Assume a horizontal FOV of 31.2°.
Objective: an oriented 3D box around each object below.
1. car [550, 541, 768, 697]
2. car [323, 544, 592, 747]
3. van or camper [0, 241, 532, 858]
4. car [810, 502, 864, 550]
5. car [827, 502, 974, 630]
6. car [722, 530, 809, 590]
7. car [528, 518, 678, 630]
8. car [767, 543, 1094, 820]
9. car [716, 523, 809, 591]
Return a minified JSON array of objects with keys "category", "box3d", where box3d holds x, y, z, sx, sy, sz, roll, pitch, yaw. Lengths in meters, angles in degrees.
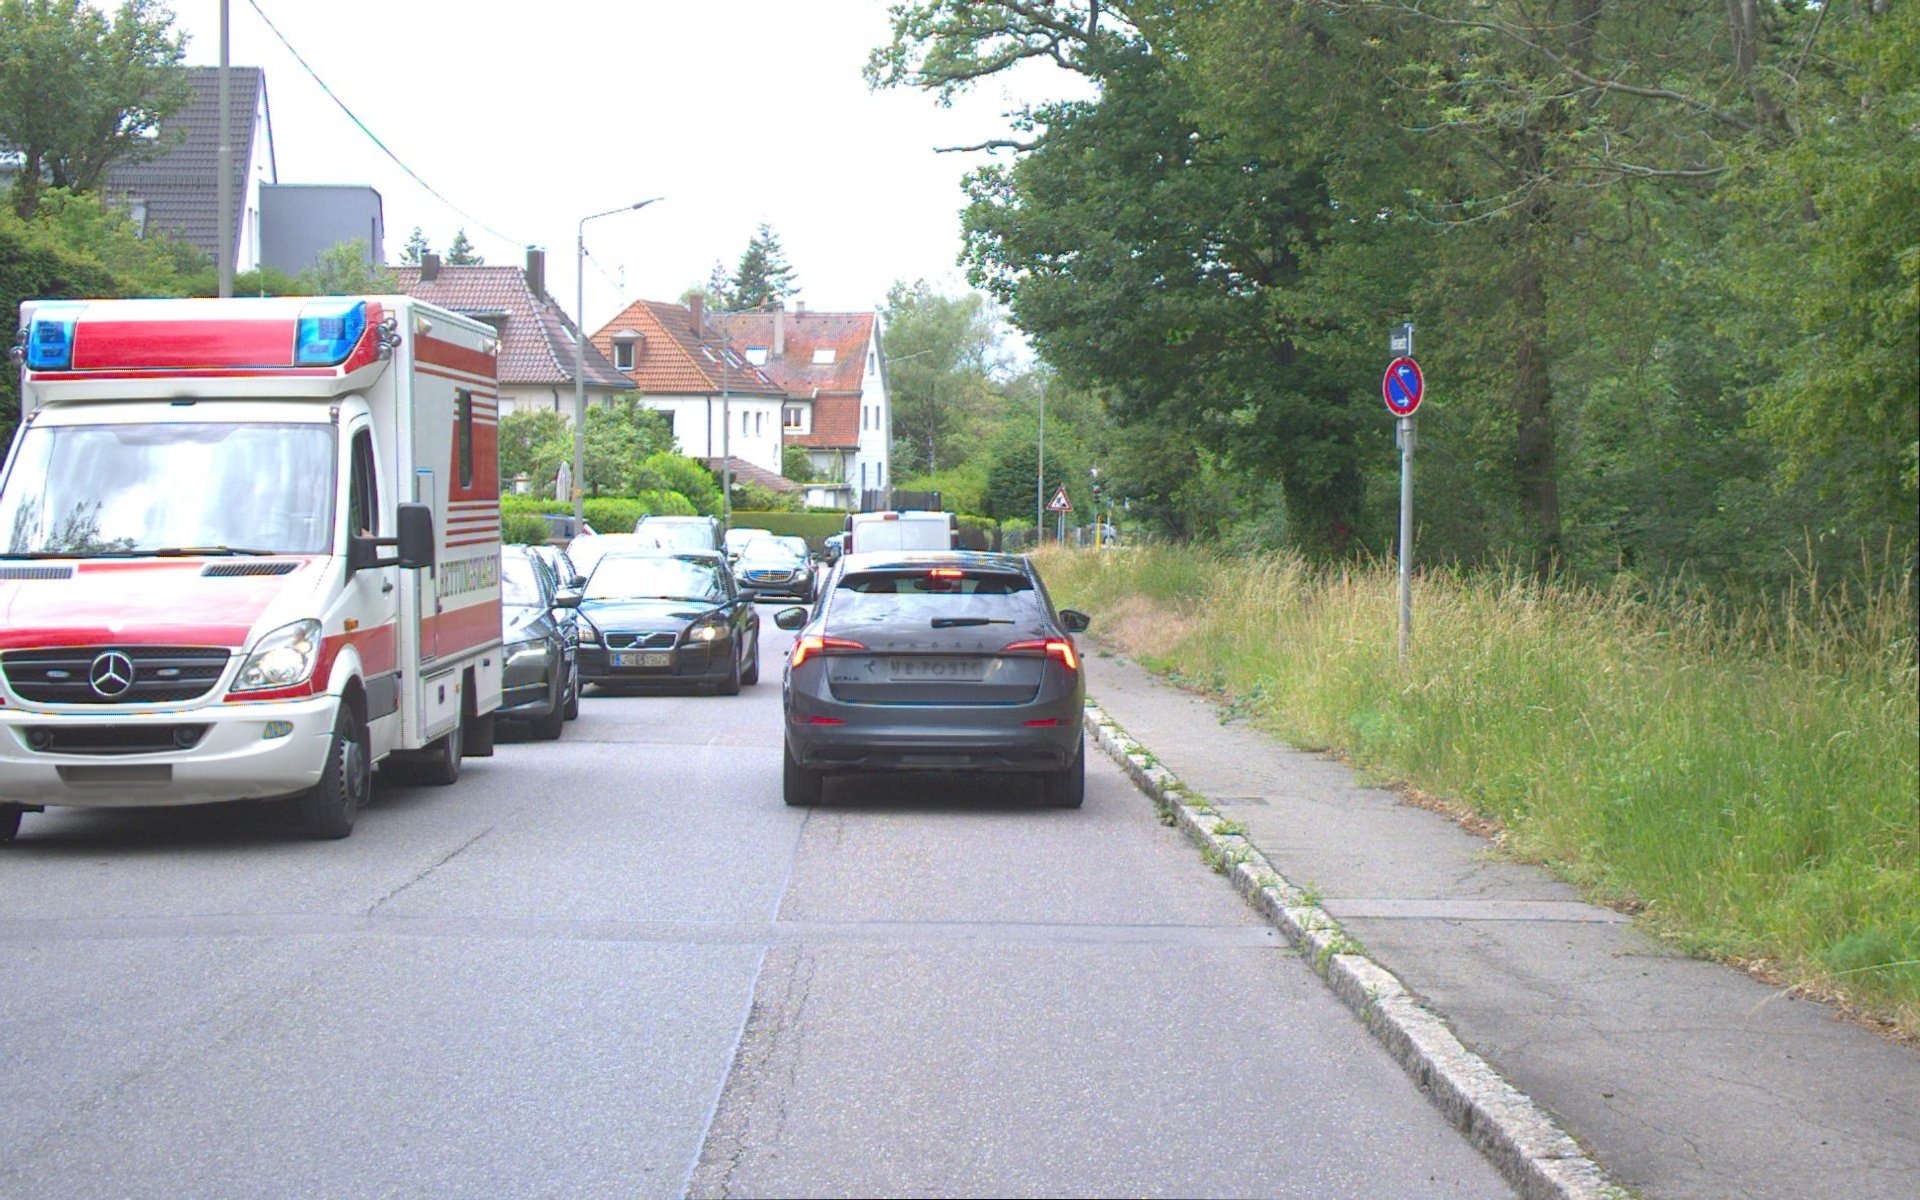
[{"category":"car","box3d":[-2.957,0.139,34.552,1.763,1.441,4.474,0,1,0]},{"category":"car","box3d":[-3.879,0.289,27.163,1.763,1.441,4.474,0,1,-4]},{"category":"van or camper","box3d":[-4.131,-0.308,19.693,2.456,2.885,7.168,0,1,0]},{"category":"car","box3d":[-4.339,-2.635,121.669,1.833,1.591,4.324,1,2,-1]},{"category":"car","box3d":[-1.005,-0.584,55.108,2.071,1.915,4.923,1,1,-4]},{"category":"car","box3d":[-5.167,-1.086,91.620,1.784,1.495,4.014,2,1,4]},{"category":"car","box3d":[-5.481,-0.424,53.249,1.838,1.643,4.186,1,1,0]},{"category":"car","box3d":[-0.278,0.410,20.889,1.727,1.434,4.324,1,1,-4]},{"category":"car","box3d":[-4.319,-0.973,75.738,1.863,1.409,4.593,2,1,-2]}]
